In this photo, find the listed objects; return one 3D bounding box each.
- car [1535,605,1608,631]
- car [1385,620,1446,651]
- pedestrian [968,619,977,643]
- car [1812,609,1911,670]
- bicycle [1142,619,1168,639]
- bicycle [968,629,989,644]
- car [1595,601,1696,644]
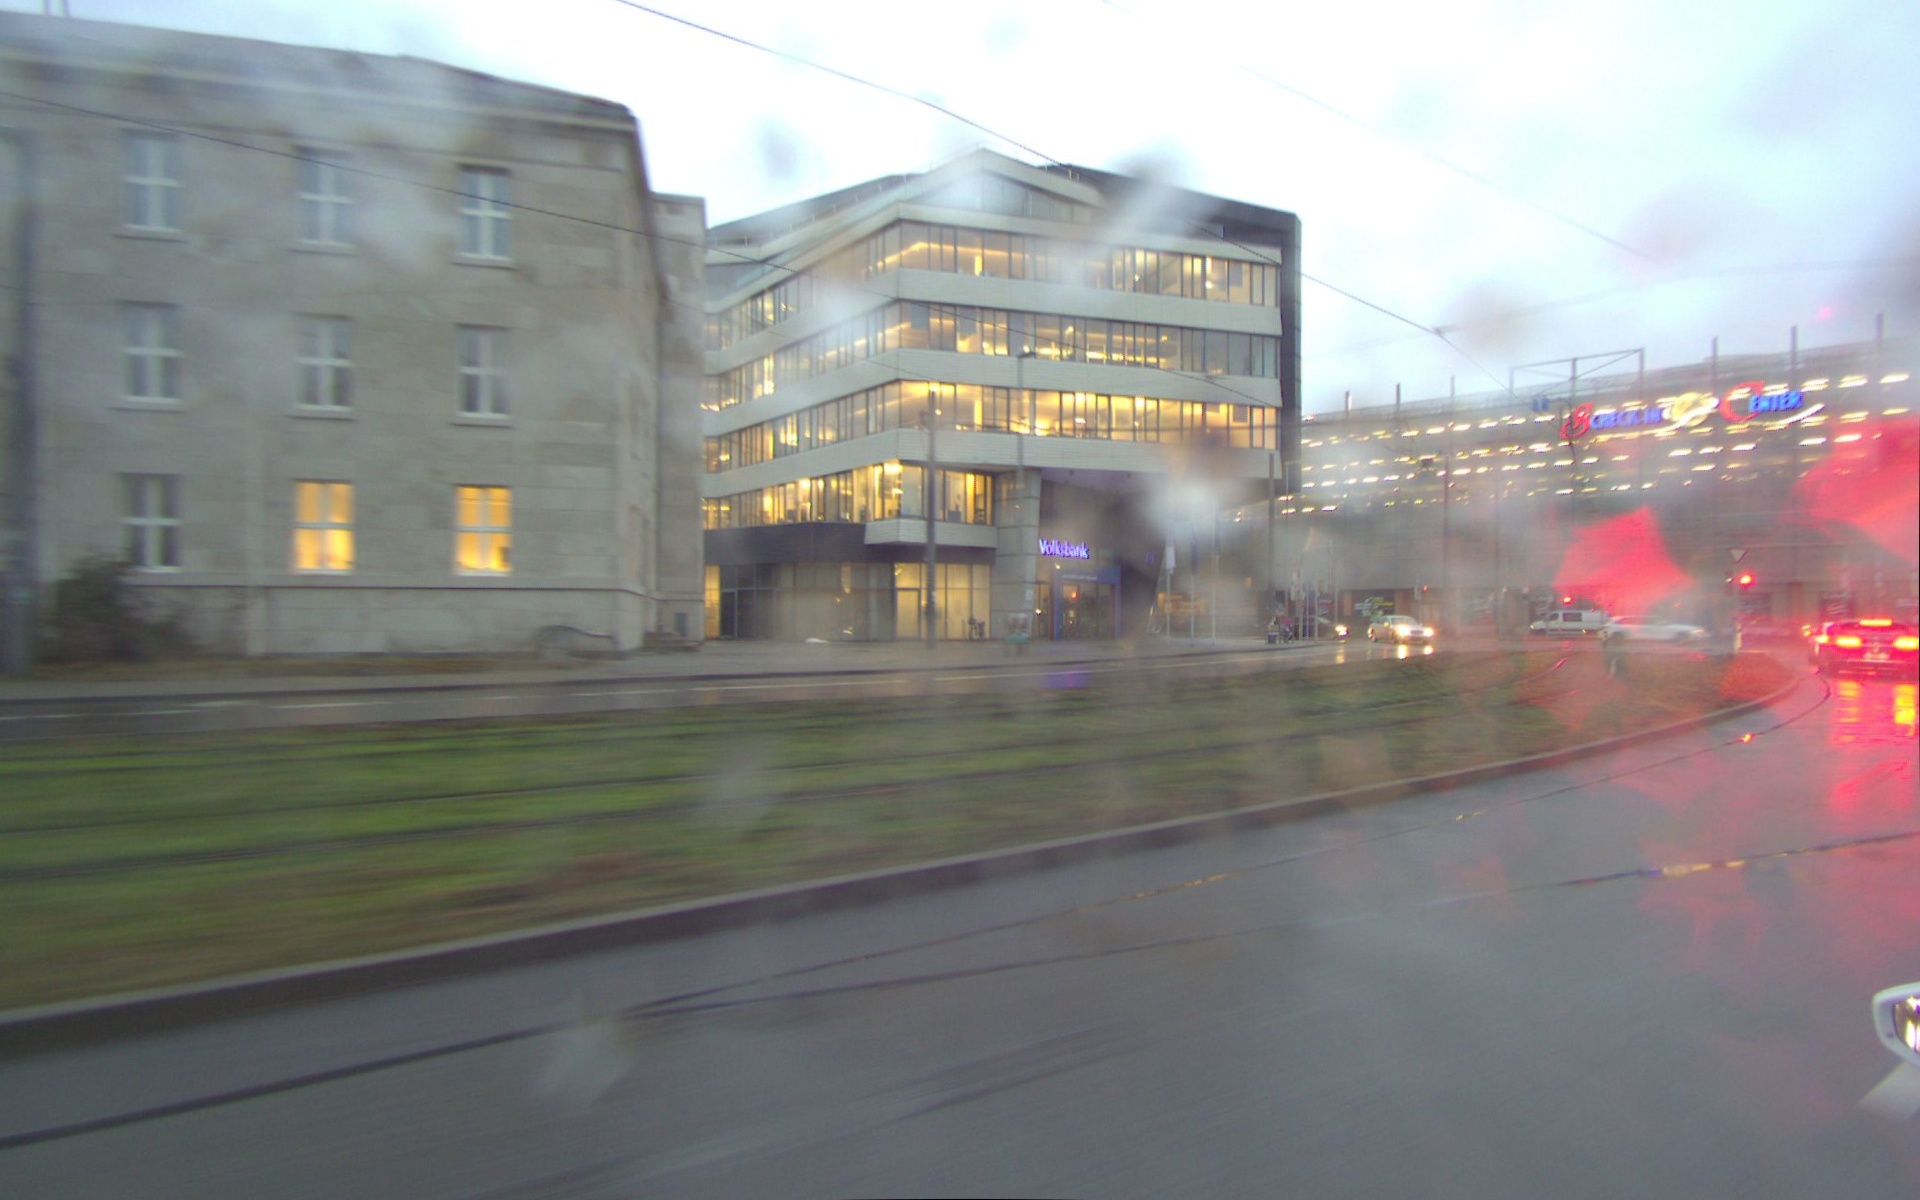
[{"bbox_3d":[51.268,1.476,84.294,5.013,1.988,1.884,3,1,37],"label":"car"},{"bbox_3d":[24.112,1.850,53.067,1.799,1.454,4.635,3,1,39],"label":"car"},{"bbox_3d":[0.586,1.466,47.532,0.381,1.103,0.324,0,-1,-14],"label":"pedestrian"},{"bbox_3d":[25.135,1.065,28.122,1.731,1.595,3.984,0,-1,38],"label":"car"},{"bbox_3d":[10.892,1.604,56.175,1.598,1.105,0.550,1,-1,-41],"label":"bicycle"},{"bbox_3d":[0.880,1.726,47.514,0.901,0.724,0.480,1,-1,-28],"label":"bicycle"},{"bbox_3d":[36.400,1.180,53.494,4.294,2.041,1.995,2,1,33],"label":"car"}]
